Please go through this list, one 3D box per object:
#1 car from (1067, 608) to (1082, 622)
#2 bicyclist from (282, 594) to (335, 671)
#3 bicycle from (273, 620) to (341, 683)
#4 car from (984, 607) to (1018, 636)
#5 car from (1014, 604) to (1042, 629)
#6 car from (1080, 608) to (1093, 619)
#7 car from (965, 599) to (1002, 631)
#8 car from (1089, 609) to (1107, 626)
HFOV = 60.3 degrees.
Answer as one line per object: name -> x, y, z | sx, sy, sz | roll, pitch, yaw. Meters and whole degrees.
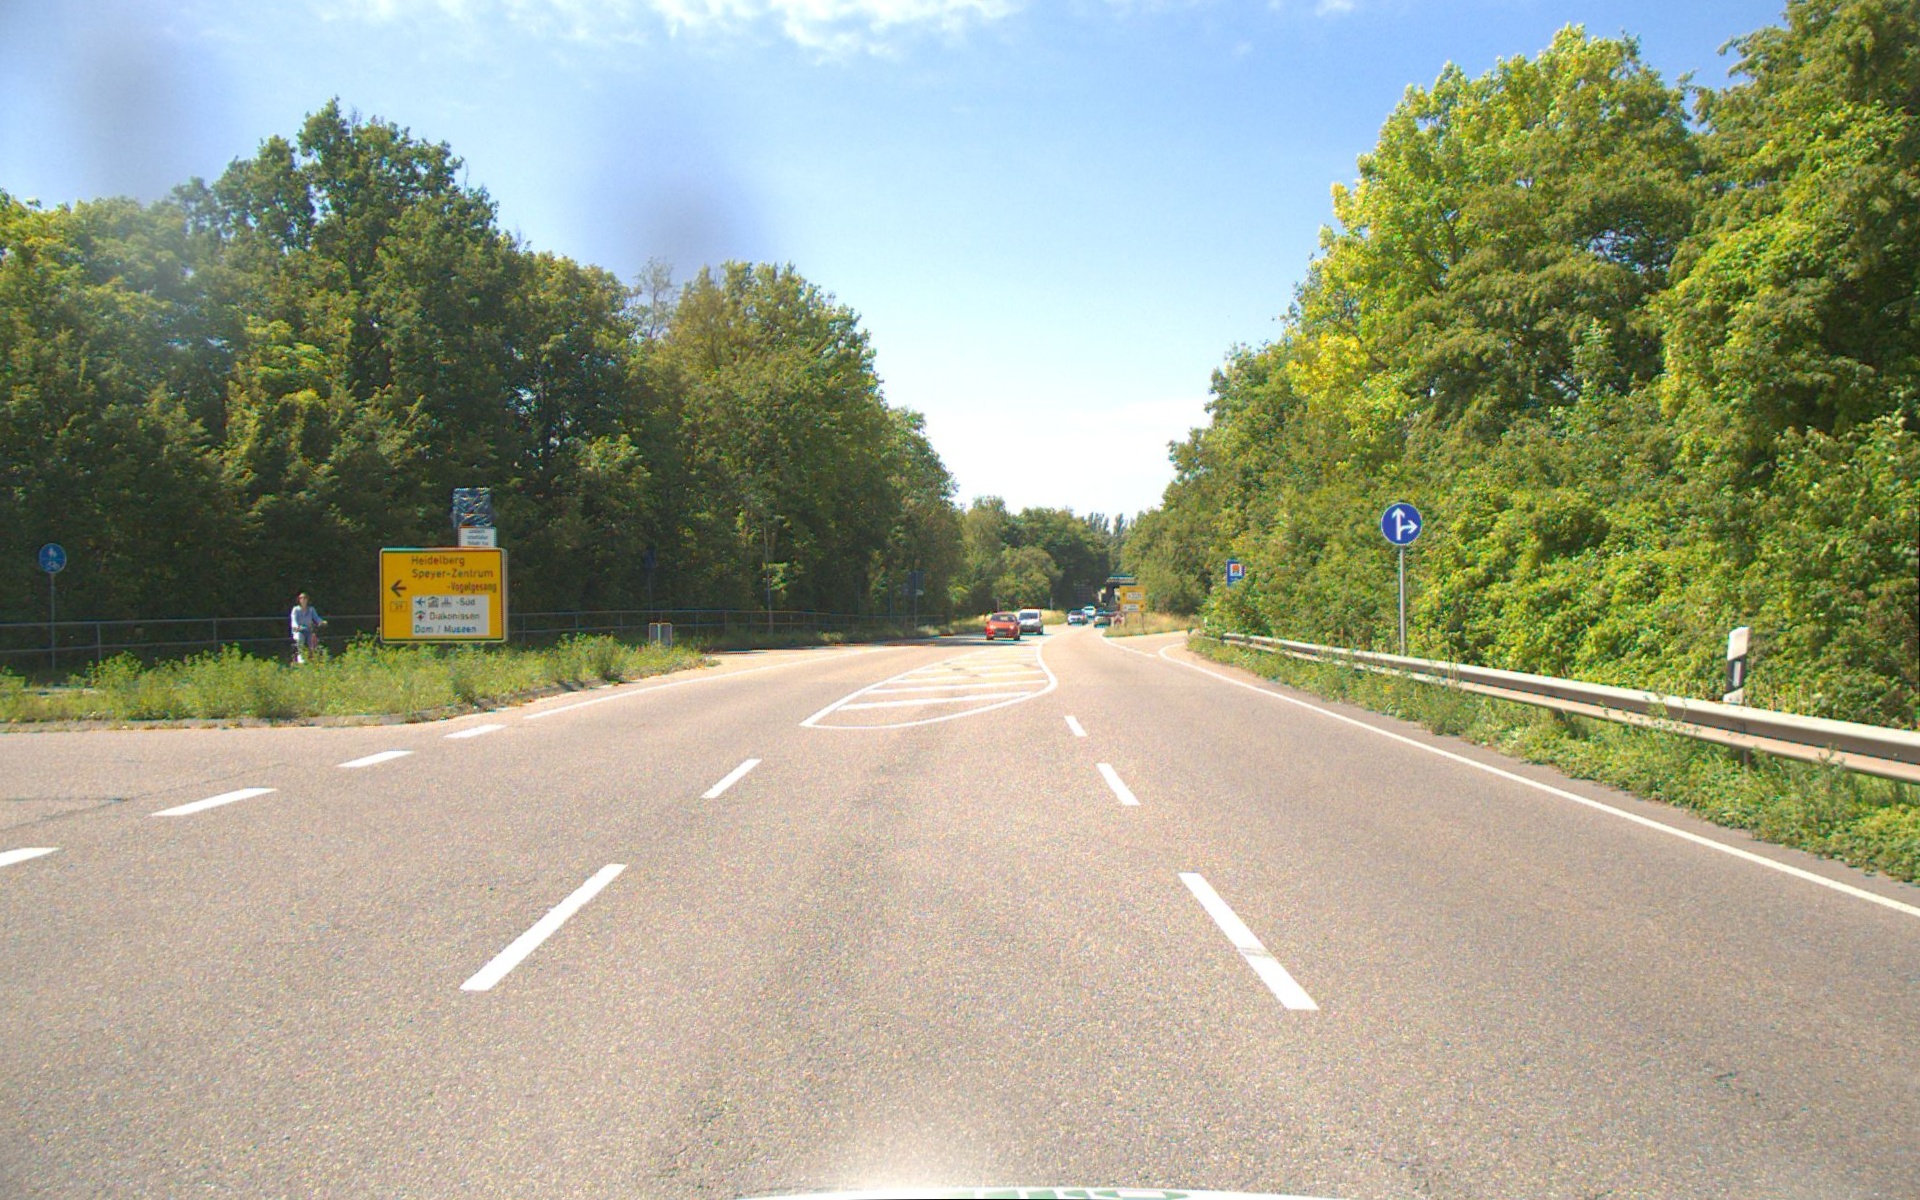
car -> 13.072, 1.749, 188.760 | 1.642, 1.554, 4.002 | 0, 0, 4
bicyclist -> -11.868, 0.585, 30.125 | 0.597, 1.387, 0.687 | -1, -1, 36
bicycle -> -11.937, 0.929, 30.225 | 1.452, 1.133, 0.435 | 0, -1, 36
car -> 2.184, 1.137, 88.756 | 1.772, 1.483, 3.758 | 0, 0, 1
car -> 4.937, 1.204, 120.018 | 1.952, 1.760, 4.276 | 0, 0, 3
car -> 17.782, 1.891, 232.457 | 1.683, 1.555, 3.712 | 0, 0, 6
car -> 2.485, 1.588, 178.027 | 1.971, 3.282, 4.763 | 0, 0, -29
car -> 14.530, 1.835, 174.528 | 1.804, 1.714, 4.002 | 0, 1, 4
